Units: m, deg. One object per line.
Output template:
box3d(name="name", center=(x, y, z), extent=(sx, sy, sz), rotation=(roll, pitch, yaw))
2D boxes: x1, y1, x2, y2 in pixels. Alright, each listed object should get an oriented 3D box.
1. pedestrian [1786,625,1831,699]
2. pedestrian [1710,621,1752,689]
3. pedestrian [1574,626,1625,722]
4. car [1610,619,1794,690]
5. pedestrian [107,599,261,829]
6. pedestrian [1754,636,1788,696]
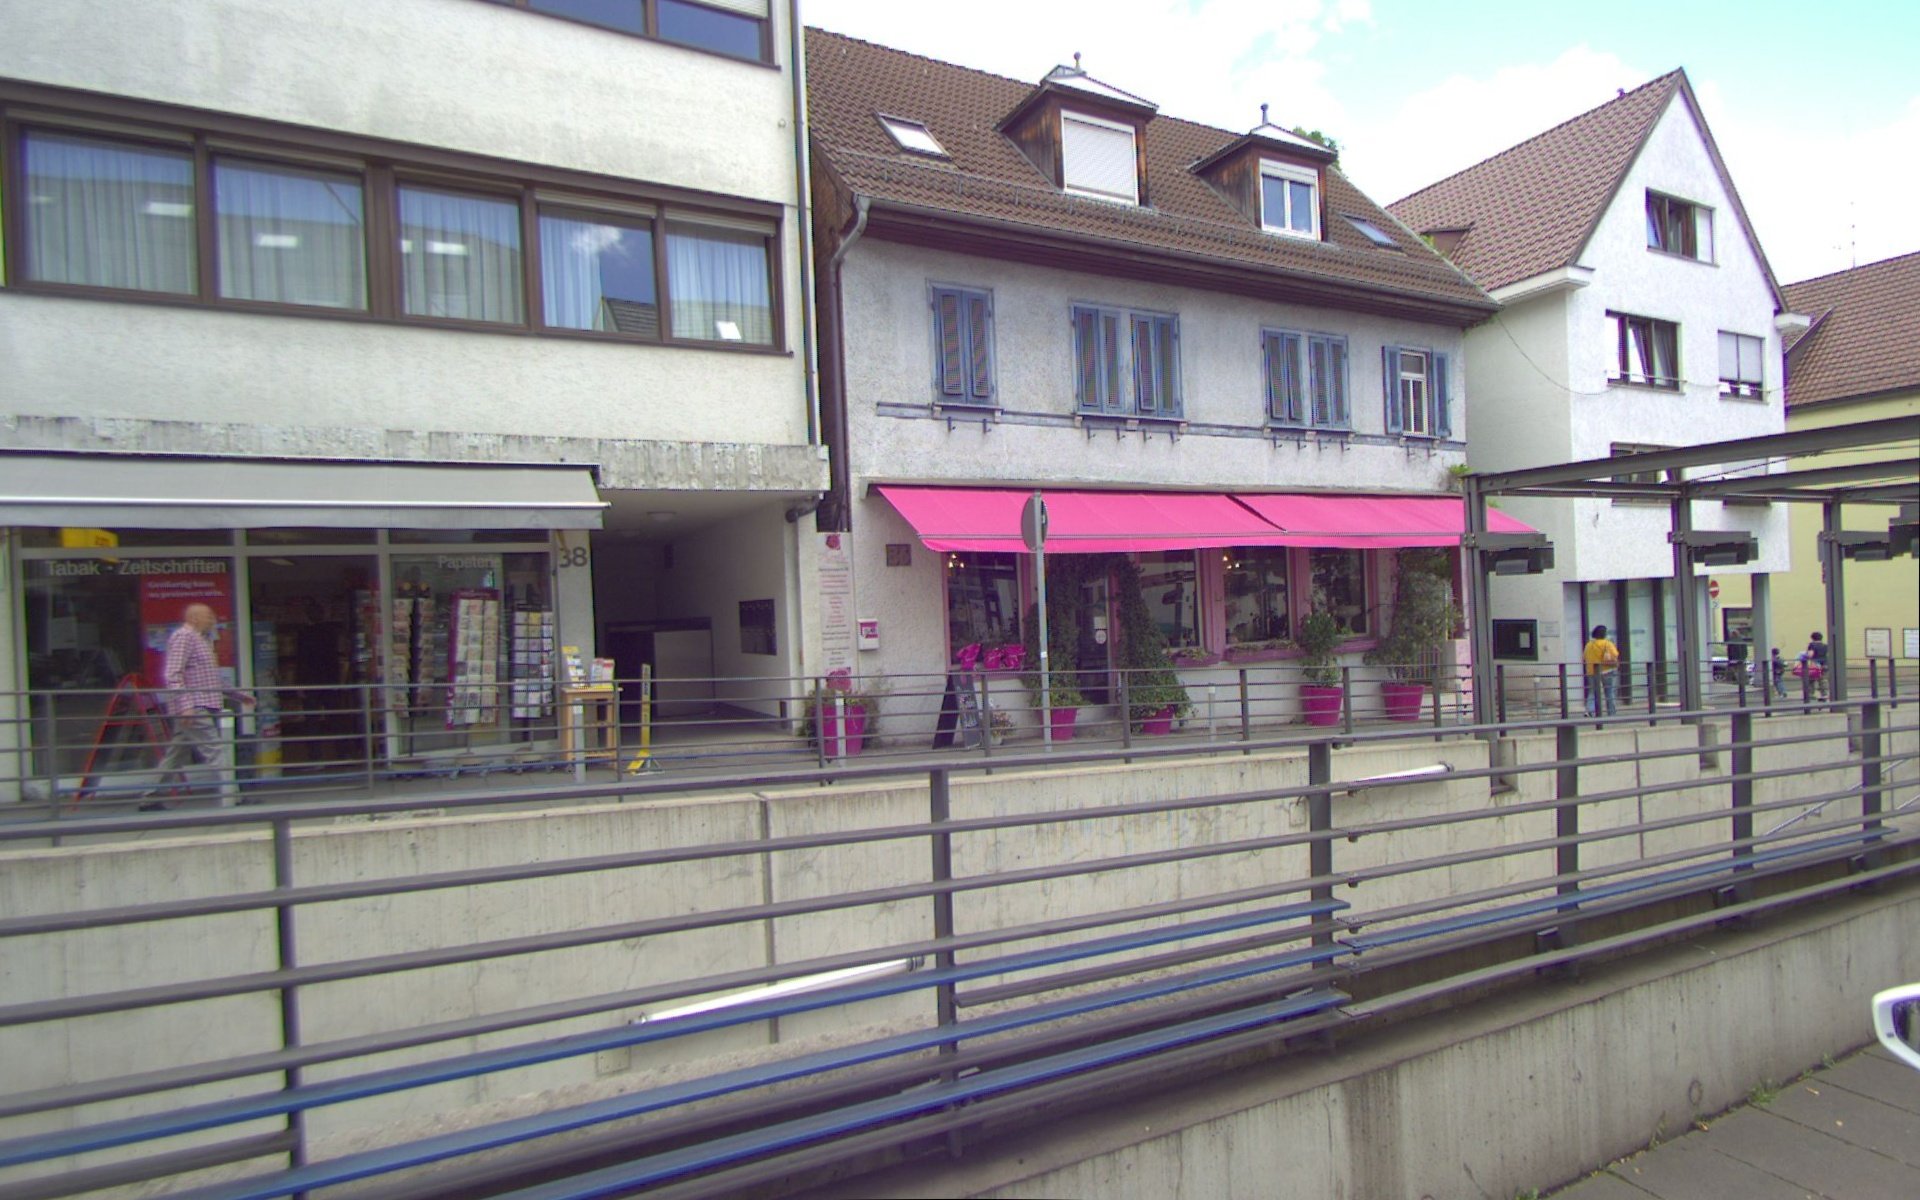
box3d(name="pedestrian", center=(20.384, 1.474, 24.131), extent=(0.671, 1.711, 0.622), rotation=(1, 0, -30))
box3d(name="pedestrian", center=(20.095, 1.426, 26.180), extent=(0.722, 1.711, 0.648), rotation=(1, 0, -32))
box3d(name="pedestrian", center=(11.757, 1.339, 18.466), extent=(0.570, 1.711, 0.575), rotation=(1, 0, -30))
box3d(name="car", center=(22.142, 1.577, 30.206), extent=(1.805, 1.754, 4.178), rotation=(1, 2, -16))
box3d(name="pedestrian", center=(-6.124, 0.867, 7.978), extent=(0.816, 1.711, 0.637), rotation=(1, -2, -25))
box3d(name="pedestrian", center=(19.966, 1.627, 24.722), extent=(0.527, 1.440, 0.455), rotation=(1, 0, -27))
